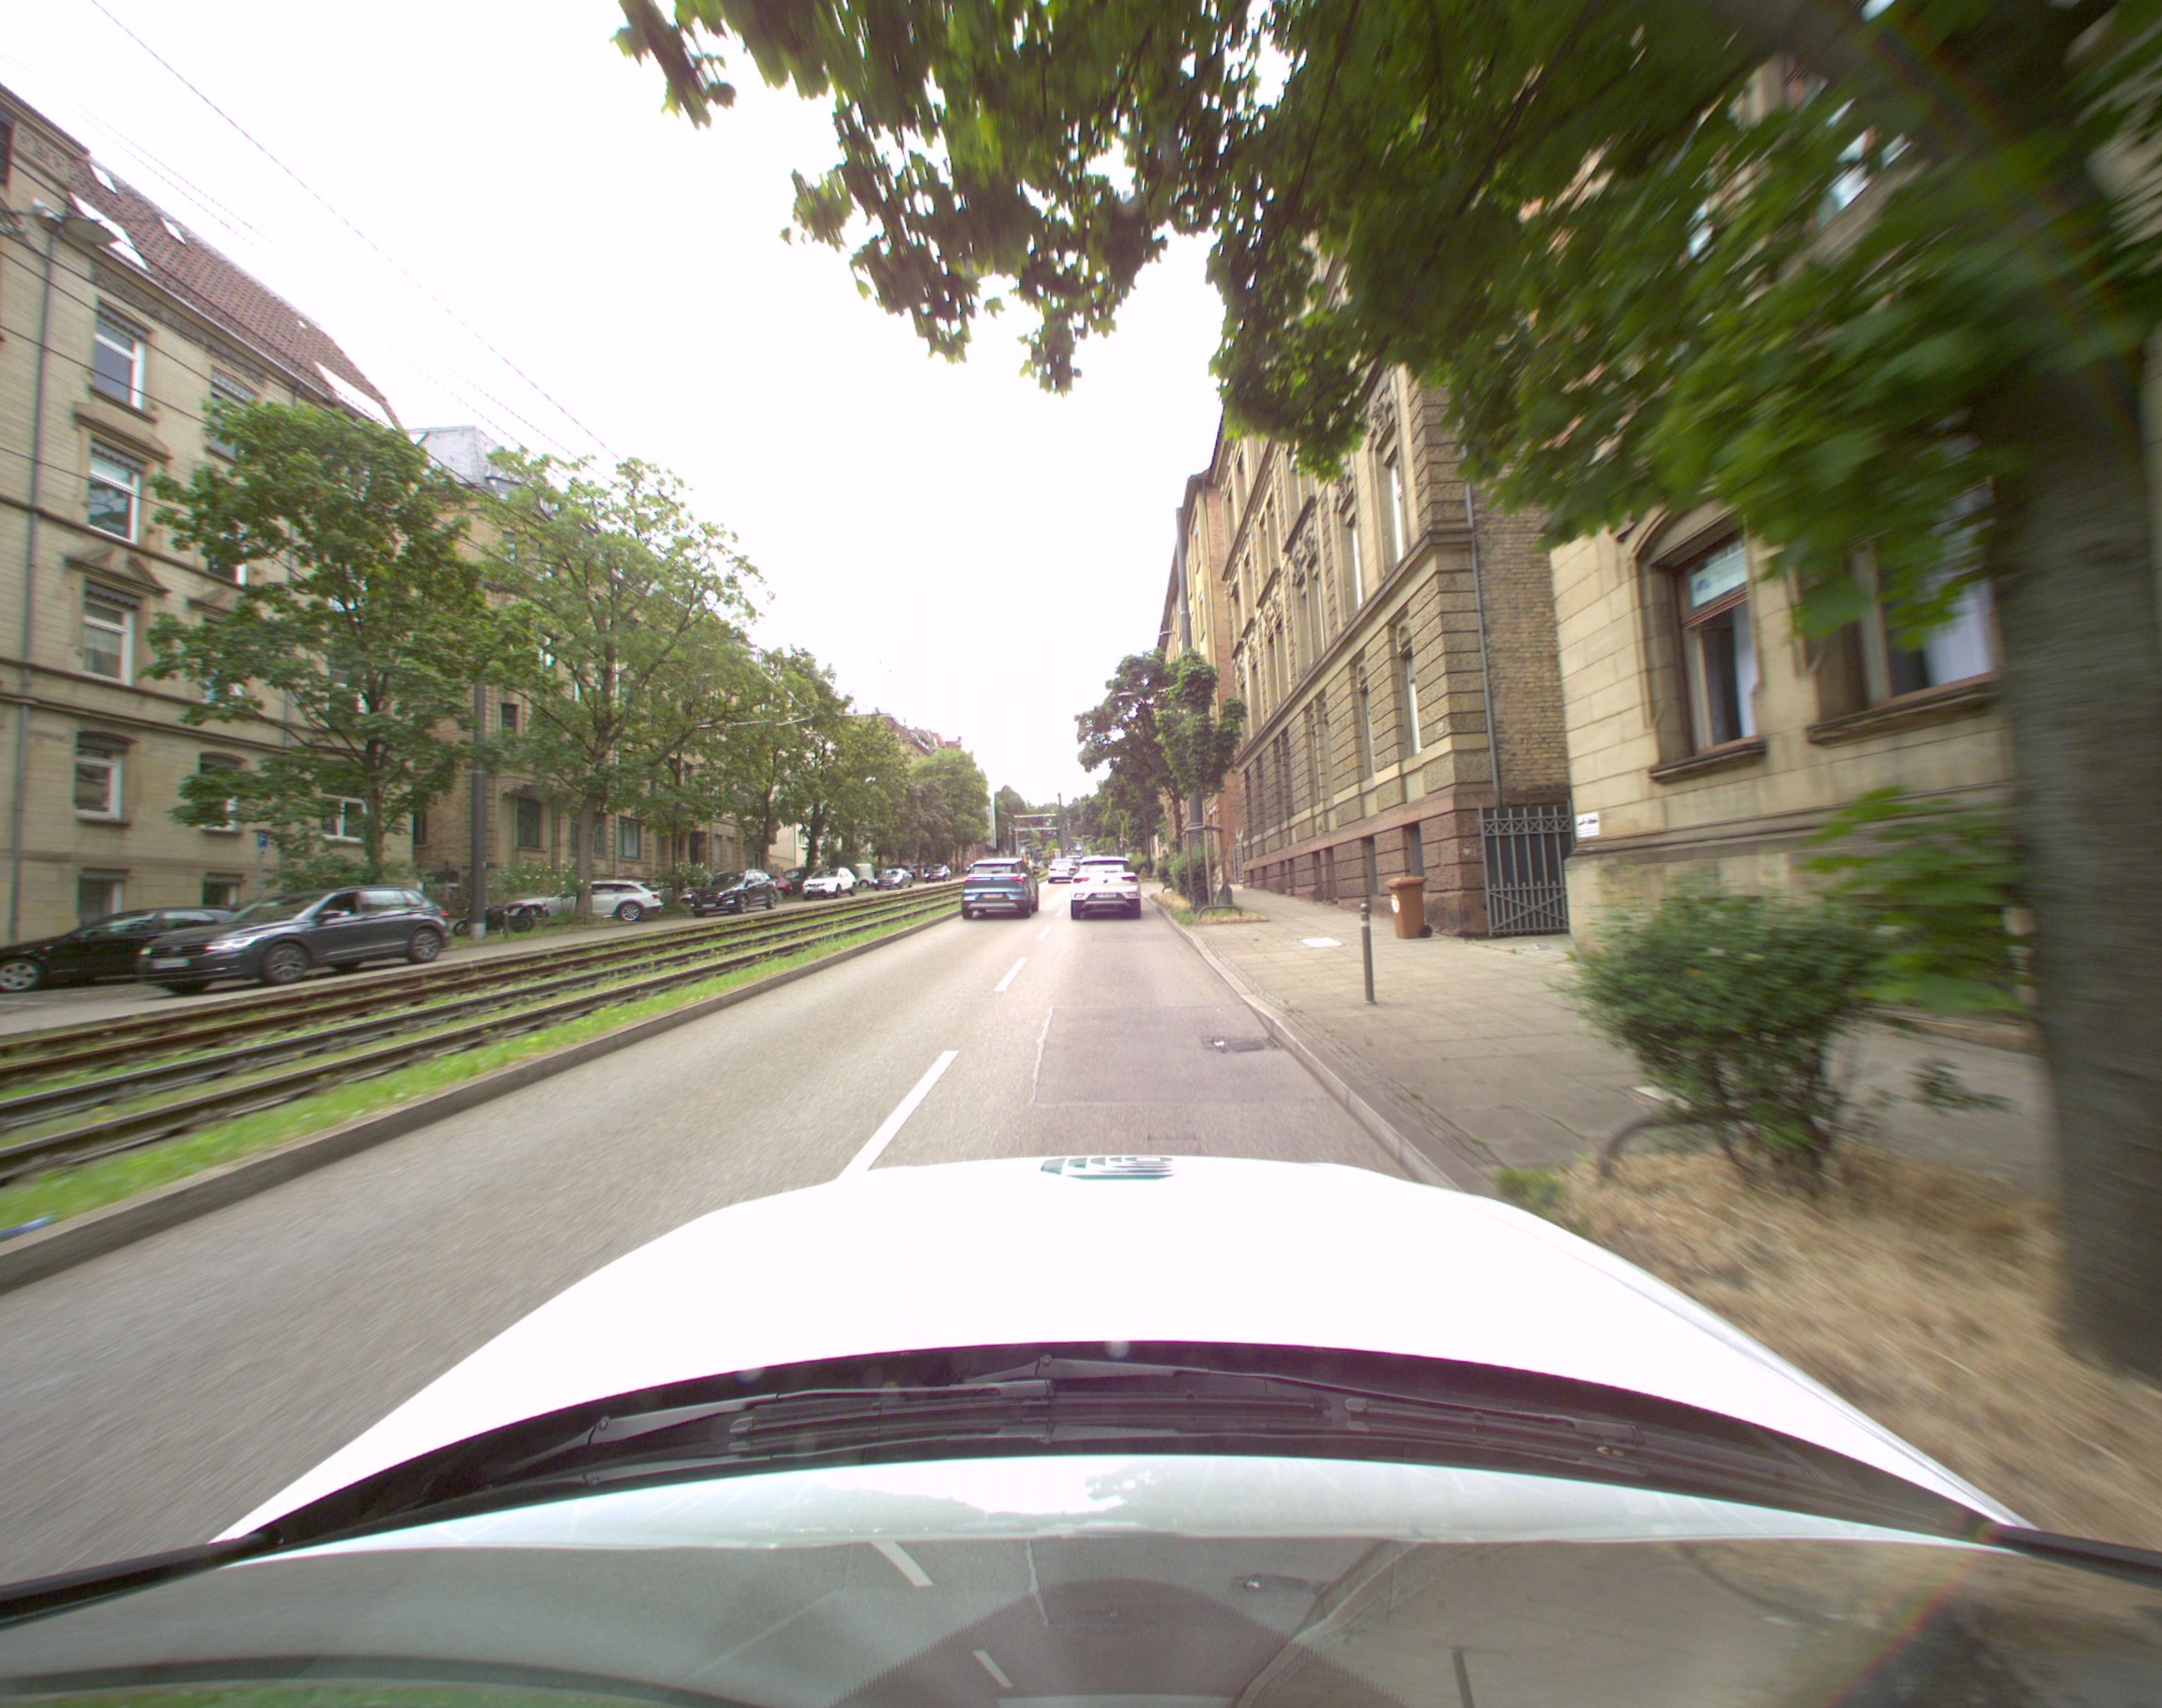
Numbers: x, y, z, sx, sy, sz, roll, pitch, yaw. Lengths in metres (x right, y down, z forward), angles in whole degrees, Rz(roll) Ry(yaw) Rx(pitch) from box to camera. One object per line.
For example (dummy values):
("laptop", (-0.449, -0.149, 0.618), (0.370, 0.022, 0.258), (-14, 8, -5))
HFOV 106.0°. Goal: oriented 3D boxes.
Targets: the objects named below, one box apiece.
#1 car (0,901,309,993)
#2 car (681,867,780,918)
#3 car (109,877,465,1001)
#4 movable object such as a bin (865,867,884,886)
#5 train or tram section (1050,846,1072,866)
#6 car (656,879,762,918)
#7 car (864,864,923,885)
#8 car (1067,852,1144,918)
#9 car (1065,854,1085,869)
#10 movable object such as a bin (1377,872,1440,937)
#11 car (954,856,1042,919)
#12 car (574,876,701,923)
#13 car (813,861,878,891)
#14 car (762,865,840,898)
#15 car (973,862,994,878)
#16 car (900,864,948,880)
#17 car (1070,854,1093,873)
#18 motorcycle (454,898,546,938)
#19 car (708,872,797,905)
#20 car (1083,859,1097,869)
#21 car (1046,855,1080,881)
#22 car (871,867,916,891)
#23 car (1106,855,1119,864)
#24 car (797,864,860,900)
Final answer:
("car", (-18.239, 1.755, 15.943), (4.195, 1.364, 1.696), (-2, 0, -29))
("car", (-13.383, 1.408, 31.409), (1.773, 1.657, 4.244), (-4, -1, 2))
("car", (-13.908, 1.367, 14.769), (1.873, 1.650, 4.472), (-5, 0, 2))
("movable object such as a bin", (-15.517, 1.704, 61.240), (1.276, 1.401, 1.091), (-2, -1, -14))
("train or tram section", (-3.631, 0.435, 150.277), (2.984, 3.349, 13.447), (-3, -1, 3))
("car", (-17.024, 1.994, 37.338), (4.206, 1.435, 1.853), (-3, 0, -32))
("car", (-16.347, 1.763, 70.945), (4.623, 1.682, 1.917), (-1, -1, -32))
("car", (0.617, 0.764, 21.824), (1.829, 1.546, 4.193), (-1, -1, 1))
("car", (-0.652, 0.812, 86.028), (2.062, 1.546, 4.191), (-1, -1, -1))
("movable object such as a bin", (5.016, 0.766, 12.504), (0.669, 0.897, 0.582), (-5, 2, -1))
("car", (-2.179, 0.848, 22.549), (1.828, 1.546, 4.195), (-1, -1, 2))
("car", (-17.175, 1.725, 31.617), (4.168, 1.469, 1.768), (-3, -1, -31))
("car", (-16.748, 1.561, 57.940), (4.199, 1.836, 1.856), (-3, -1, -26))
("car", (-17.038, 1.656, 49.554), (4.203, 1.767, 1.854), (-3, -1, -29))
("car", (-10.097, 1.657, 84.554), (1.582, 1.435, 3.413), (-4, 0, 1))
("car", (-16.527, 1.882, 85.882), (4.624, 1.617, 1.916), (-1, -1, -33))
("car", (0.067, 0.837, 69.949), (1.828, 1.546, 4.195), (-1, -1, 2))
("motorcycle", (-17.460, 1.896, 24.526), (2.214, 1.058, 0.619), (-1, -1, -33))
("car", (-17.566, 1.822, 43.603), (4.203, 1.435, 1.854), (-3, 0, -29))
("car", (1.424, 1.613, 128.102), (2.061, 1.546, 4.193), (-1, -1, 0))
("car", (-1.091, 0.849, 50.435), (1.828, 1.546, 4.195), (-1, -1, 2))
("car", (-12.644, 1.643, 55.161), (1.718, 1.410, 4.599), (-4, 0, 2))
("car", (5.257, 0.927, 134.651), (2.060, 1.546, 4.195), (-1, -1, 2))
("car", (-13.350, 1.446, 43.275), (1.773, 1.616, 4.348), (-4, -1, 2))
